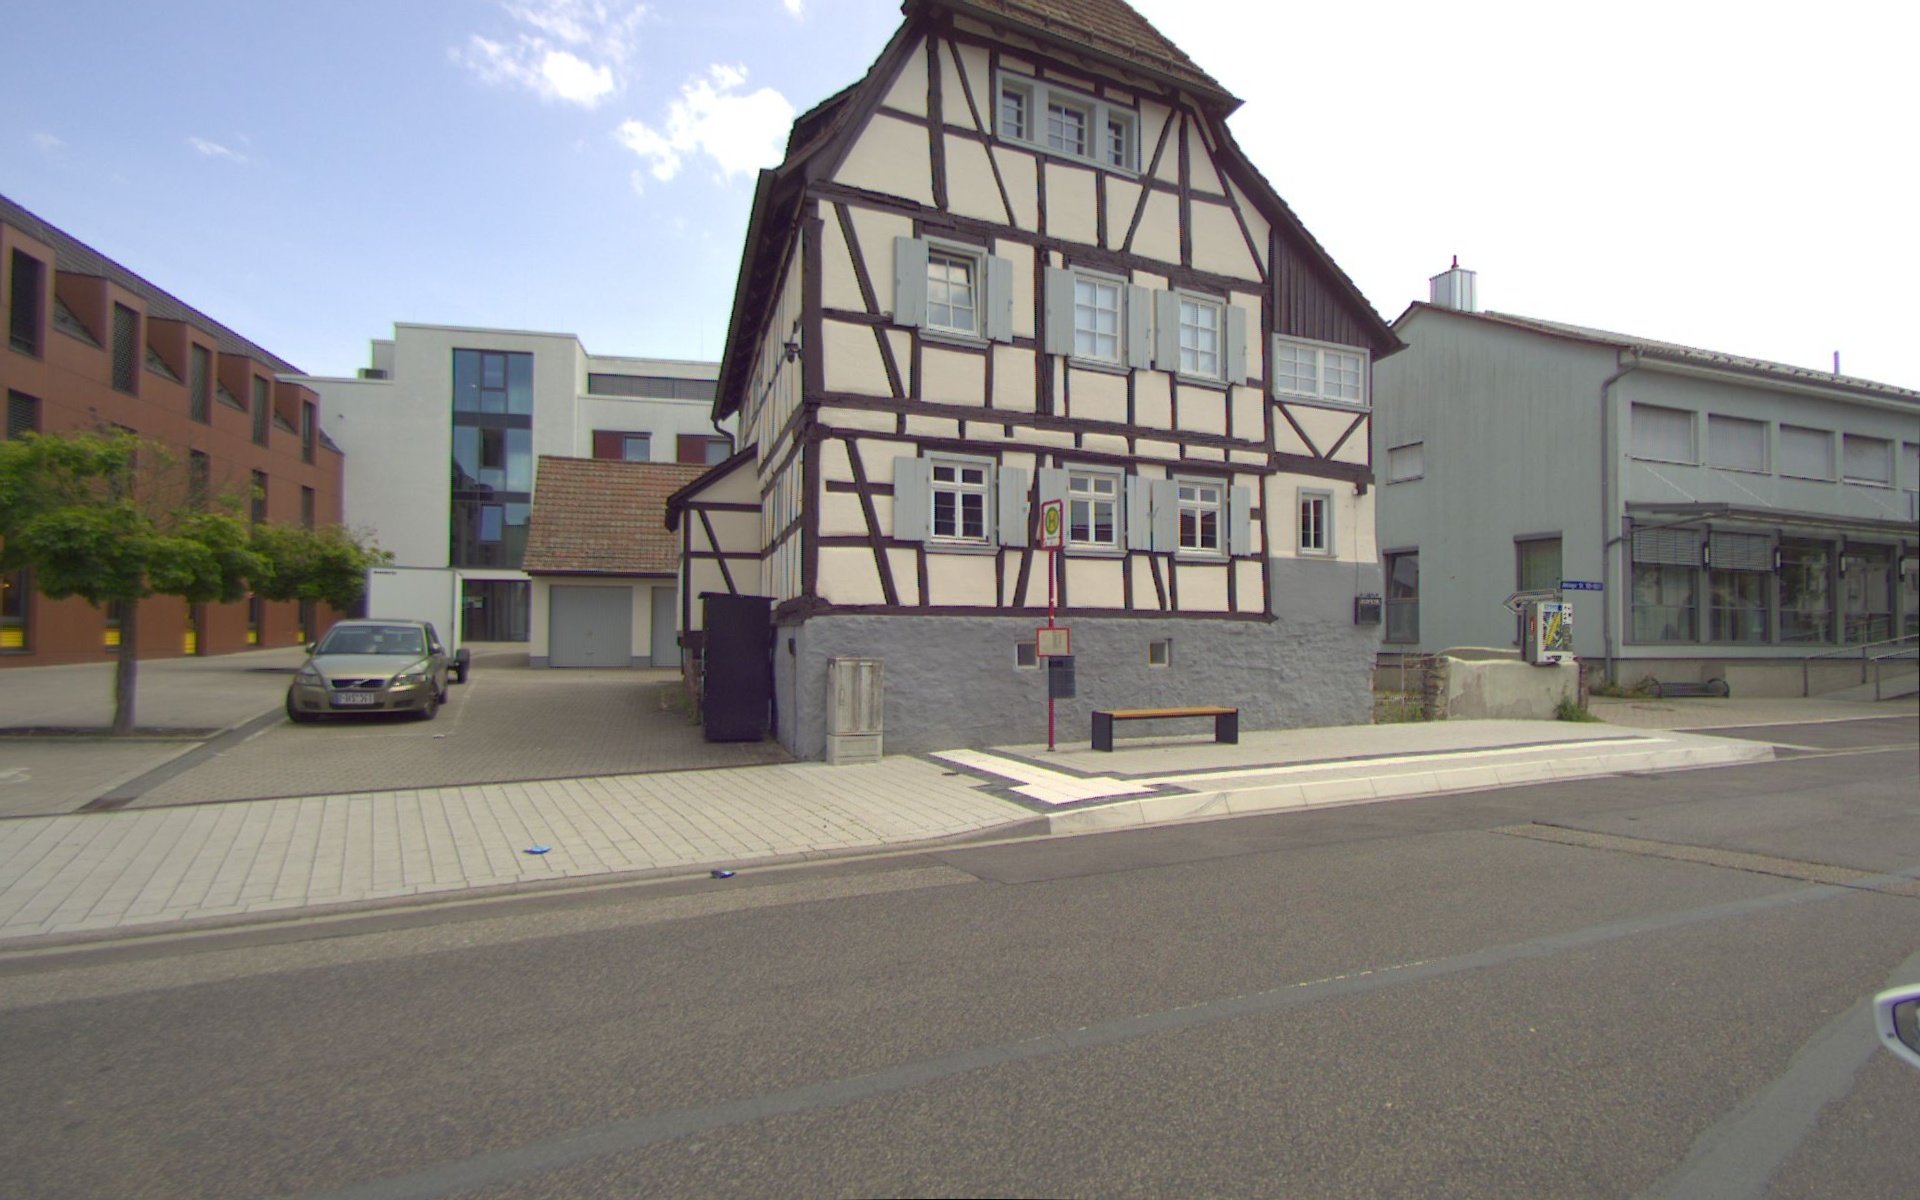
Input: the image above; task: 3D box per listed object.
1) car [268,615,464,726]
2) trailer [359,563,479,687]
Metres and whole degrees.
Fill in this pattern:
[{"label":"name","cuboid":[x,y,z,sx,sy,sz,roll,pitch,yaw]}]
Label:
[{"label":"car","cuboid":[-9.091,1.006,15.770,1.936,1.407,4.418,2,-1,-22]},{"label":"trailer","cuboid":[-11.849,0.517,22.269,1.937,2.458,4.414,2,-1,-24]}]
